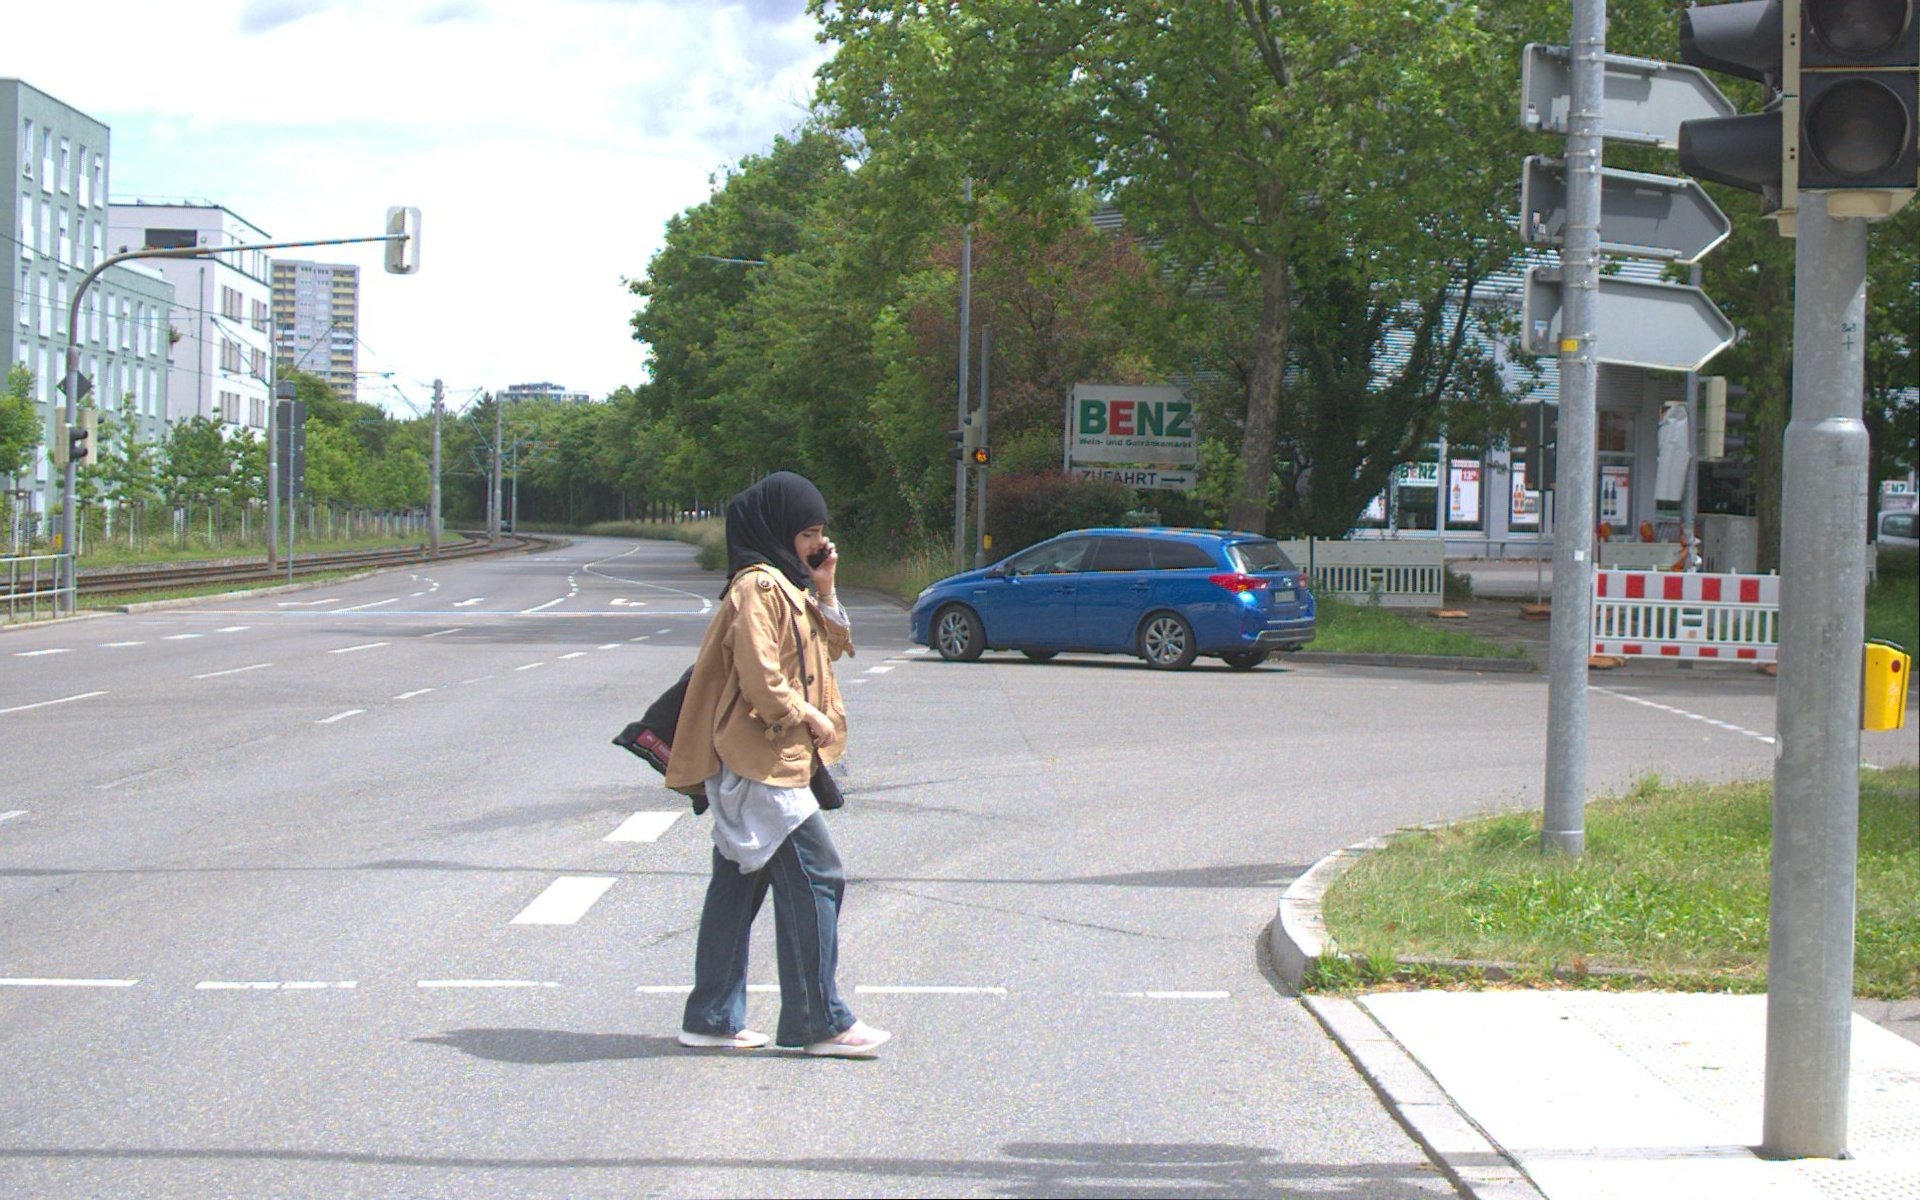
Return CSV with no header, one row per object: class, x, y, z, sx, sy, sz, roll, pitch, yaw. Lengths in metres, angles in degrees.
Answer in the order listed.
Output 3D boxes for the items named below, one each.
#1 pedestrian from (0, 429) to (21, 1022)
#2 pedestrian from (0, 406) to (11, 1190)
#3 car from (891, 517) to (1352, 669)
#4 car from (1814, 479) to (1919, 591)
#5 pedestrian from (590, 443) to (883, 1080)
pedestrian,-3.356,0.377,9.977,1.002,1.767,0.929,1,1,0
pedestrian,-2.631,0.453,7.321,1.009,1.768,0.949,0,1,-5
car,1.682,-0.112,36.452,4.485,1.481,1.985,1,2,34
car,17.744,-1.179,62.559,1.993,2.007,4.000,0,2,-32
pedestrian,-0.629,0.434,9.796,0.781,1.737,0.828,1,1,-3
